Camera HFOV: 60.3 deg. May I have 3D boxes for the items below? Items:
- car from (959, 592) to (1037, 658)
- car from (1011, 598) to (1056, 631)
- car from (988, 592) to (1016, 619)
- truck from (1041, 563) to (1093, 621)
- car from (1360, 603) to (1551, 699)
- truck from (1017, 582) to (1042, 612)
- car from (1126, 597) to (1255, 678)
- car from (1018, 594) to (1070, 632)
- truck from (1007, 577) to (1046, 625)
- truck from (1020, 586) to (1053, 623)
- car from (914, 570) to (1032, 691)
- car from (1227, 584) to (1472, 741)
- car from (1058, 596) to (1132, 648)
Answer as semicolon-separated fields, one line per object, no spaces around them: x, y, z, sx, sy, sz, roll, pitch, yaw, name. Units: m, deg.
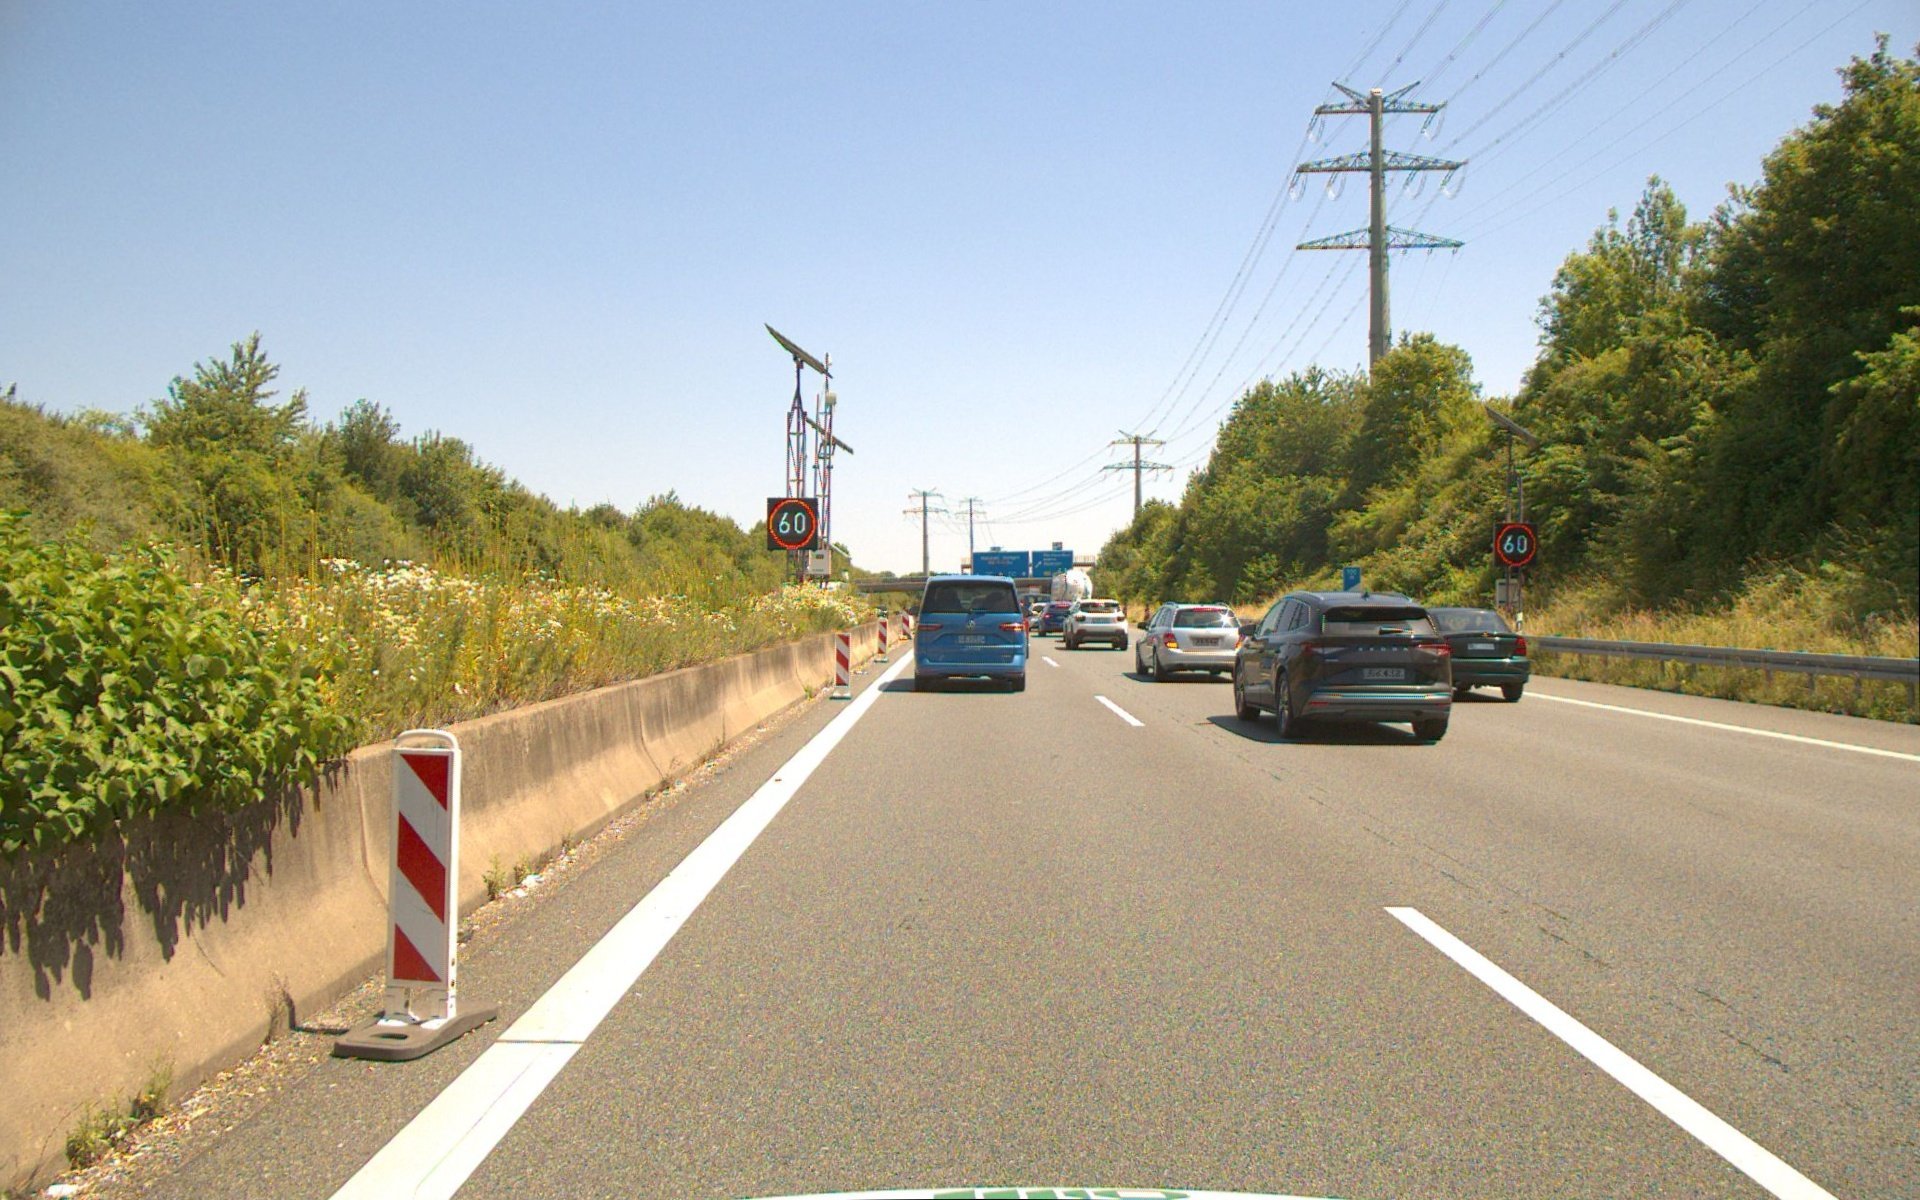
0.951;0.628;43.657;1.870;1.659;4.382;0;0;-1;car
3.635;0.701;82.520;1.870;1.542;4.382;1;0;-2;car
3.278;0.391;129.480;1.953;2.049;3.999;1;0;-1;car
8.113;-0.563;127.071;2.591;4.143;16.437;1;0;-1;truck
7.968;0.770;27.008;1.699;1.402;4.301;1;0;-2;car
10.279;-0.433;246.549;2.878;4.366;12.549;1;0;-1;truck
4.441;0.690;32.454;1.784;1.462;4.382;1;0;-2;car
3.540;0.544;70.314;1.870;1.542;4.382;1;0;-2;car
3.905;0.065;98.210;1.953;2.771;5.679;1;0;-1;truck
7.919;0.468;171.945;2.591;3.600;12.549;1;0;-1;truck
0.147;0.484;28.734;1.833;1.912;4.382;1;0;-2;car
4.445;0.643;19.558;1.791;1.642;4.430;0;0;-1;car
4.206;0.667;52.081;1.870;1.534;3.920;1;0;-2;car
